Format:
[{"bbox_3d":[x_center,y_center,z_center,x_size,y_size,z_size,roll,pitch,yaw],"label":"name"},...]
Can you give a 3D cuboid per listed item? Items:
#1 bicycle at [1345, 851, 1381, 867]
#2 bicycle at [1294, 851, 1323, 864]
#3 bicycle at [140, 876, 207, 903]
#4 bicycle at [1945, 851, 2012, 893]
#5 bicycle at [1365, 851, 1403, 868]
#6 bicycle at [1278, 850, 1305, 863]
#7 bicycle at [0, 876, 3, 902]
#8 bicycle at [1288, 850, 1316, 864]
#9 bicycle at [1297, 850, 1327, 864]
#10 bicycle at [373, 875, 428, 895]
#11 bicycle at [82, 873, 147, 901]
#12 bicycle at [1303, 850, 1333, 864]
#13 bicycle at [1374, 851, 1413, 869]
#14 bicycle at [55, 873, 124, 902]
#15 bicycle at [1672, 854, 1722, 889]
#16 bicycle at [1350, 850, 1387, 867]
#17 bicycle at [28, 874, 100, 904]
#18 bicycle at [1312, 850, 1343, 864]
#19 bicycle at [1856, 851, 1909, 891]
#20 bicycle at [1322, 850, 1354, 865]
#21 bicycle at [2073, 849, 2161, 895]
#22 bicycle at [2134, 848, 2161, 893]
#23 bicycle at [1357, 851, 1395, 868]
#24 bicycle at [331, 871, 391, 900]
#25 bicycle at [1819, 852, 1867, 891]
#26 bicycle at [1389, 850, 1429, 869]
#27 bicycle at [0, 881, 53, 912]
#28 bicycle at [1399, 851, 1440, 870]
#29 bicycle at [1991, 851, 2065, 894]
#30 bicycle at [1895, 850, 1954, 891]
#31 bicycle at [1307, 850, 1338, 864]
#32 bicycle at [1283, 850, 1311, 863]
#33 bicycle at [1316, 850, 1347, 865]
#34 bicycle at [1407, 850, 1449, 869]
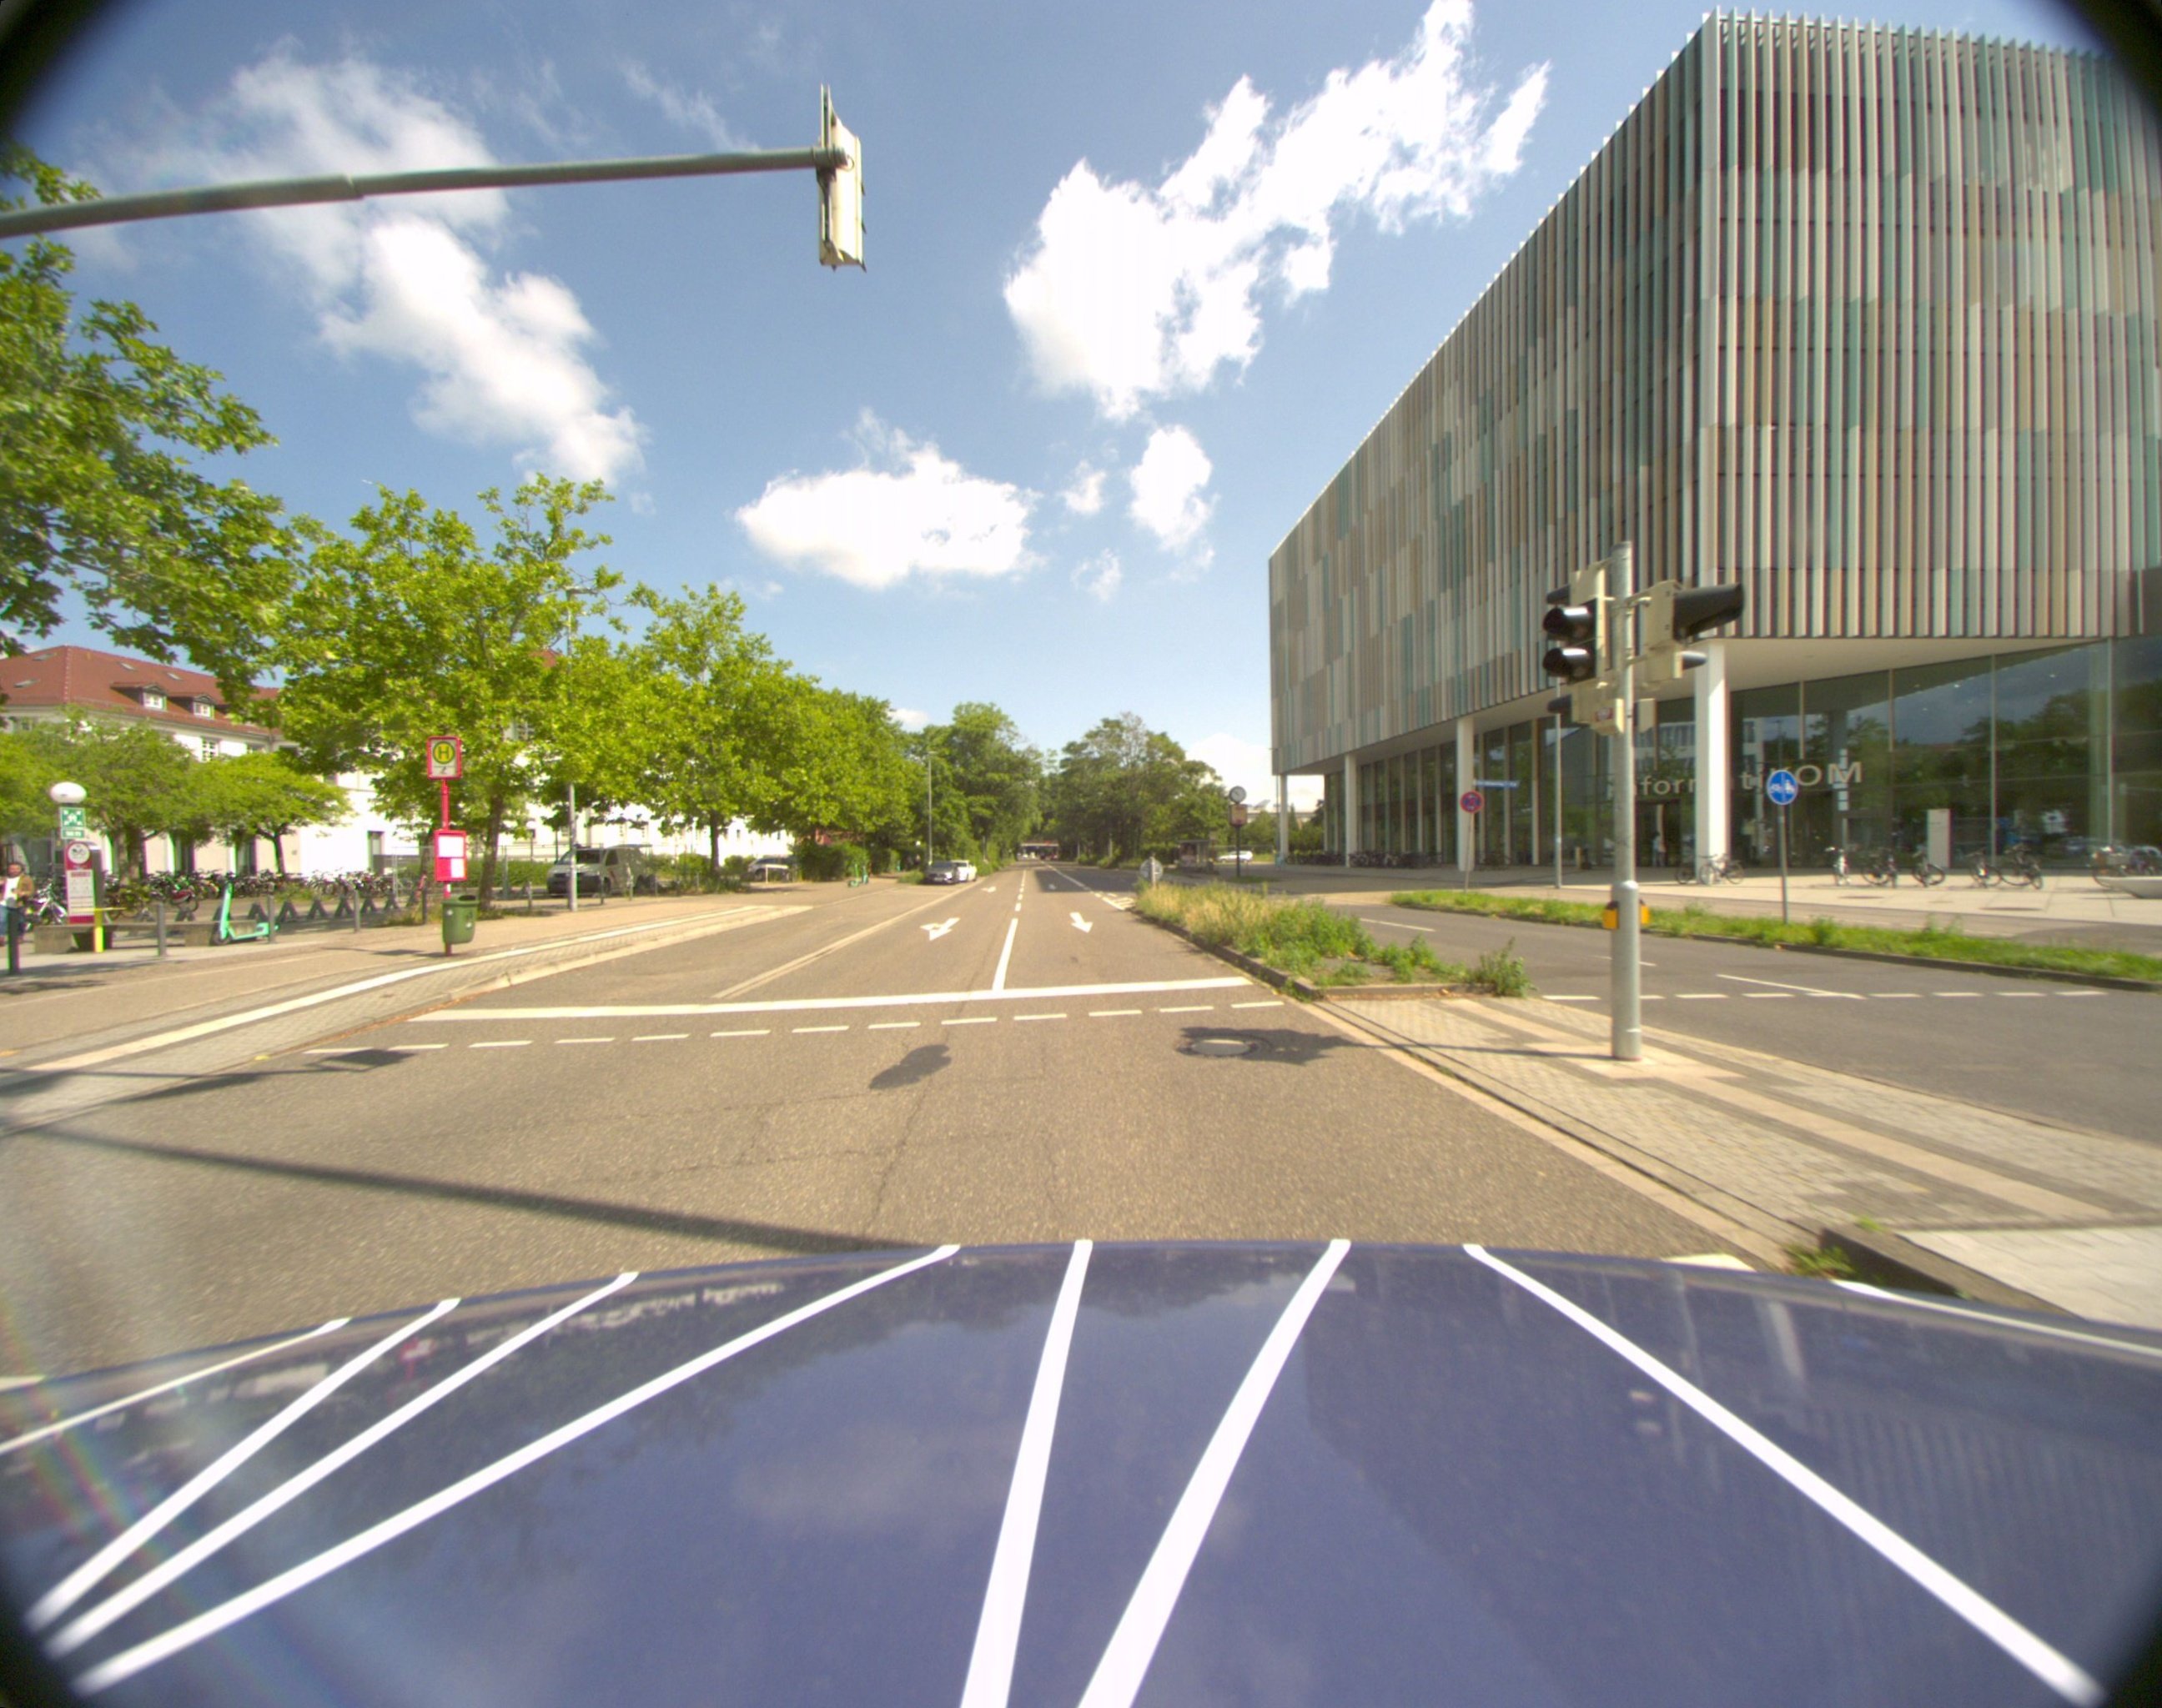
[{"bbox_3d":[19.394,0.331,52.266,2.218,1.090,0.722,-1,1,-8],"label":"bicycle"},{"bbox_3d":[19.048,0.275,63.663,2.218,1.090,0.722,-1,1,-8],"label":"bicycle"},{"bbox_3d":[-33.304,1.290,27.901,1.673,0.916,0.472,-1,1,-8],"label":"bicycle"},{"bbox_3d":[25.130,0.483,21.321,0.720,1.090,2.222,0,1,37],"label":"bicycle"},{"bbox_3d":[19.599,0.339,49.096,2.218,1.090,0.722,-1,1,-8],"label":"bicycle"},{"bbox_3d":[18.554,0.223,66.957,2.218,1.090,0.722,-1,1,-8],"label":"bicycle"},{"bbox_3d":[-45.074,1.457,30.780,1.673,1.090,0.626,-1,1,-8],"label":"bicycle"},{"bbox_3d":[18.887,0.254,64.907,2.218,1.090,0.722,-1,1,-8],"label":"bicycle"},{"bbox_3d":[18.932,0.268,62.226,2.218,1.090,0.722,-1,1,-8],"label":"bicycle"},{"bbox_3d":[-29.254,1.334,32.694,1.673,0.785,0.626,-1,1,-8],"label":"bicycle"},{"bbox_3d":[-39.633,1.337,31.171,1.673,1.090,0.626,-1,1,-8],"label":"bicycle"},{"bbox_3d":[19.087,0.246,61.194,2.218,1.090,0.722,-1,1,-8],"label":"bicycle"},{"bbox_3d":[19.787,0.380,48.176,2.218,1.090,0.735,-1,1,-8],"label":"bicycle"},{"bbox_3d":[-39.301,1.317,30.134,1.673,1.090,0.626,-1,1,-8],"label":"bicycle"},{"bbox_3d":[20.528,0.568,25.364,0.547,1.090,1.635,-1,1,9],"label":"bicycle"},{"bbox_3d":[19.408,0.319,51.303,2.218,1.090,0.722,-1,1,-8],"label":"bicycle"},{"bbox_3d":[-38.973,1.334,29.128,1.673,1.090,0.626,-1,1,-8],"label":"bicycle"},{"bbox_3d":[19.294,0.234,59.548,2.218,1.090,0.722,-1,1,-8],"label":"bicycle"},{"bbox_3d":[23.719,0.477,22.517,0.720,1.090,2.222,0,1,37],"label":"bicycle"},{"bbox_3d":[19.496,0.251,57.645,2.218,1.090,0.722,-1,1,-8],"label":"bicycle"},{"bbox_3d":[26.249,0.435,19.277,0.720,1.090,2.222,0,1,37],"label":"bicycle"},{"bbox_3d":[26.880,0.399,18.564,0.720,1.090,2.222,0,1,37],"label":"bicycle"},{"bbox_3d":[19.413,0.336,49.998,2.218,1.090,0.722,-1,1,-8],"label":"bicycle"},{"bbox_3d":[-29.071,1.255,30.707,1.673,1.090,0.626,-1,1,-8],"label":"bicycle"},{"bbox_3d":[23.016,0.499,22.989,0.720,1.090,2.222,0,1,37],"label":"bicycle"},{"bbox_3d":[20.138,0.337,46.639,2.218,1.090,0.722,-1,1,-8],"label":"bicycle"},{"bbox_3d":[-39.227,1.580,27.980,1.673,1.090,0.626,-1,1,-8],"label":"bicycle"},{"bbox_3d":[20.282,0.366,45.535,2.218,1.090,0.755,-1,1,-8],"label":"bicycle"},{"bbox_3d":[25.703,0.475,20.671,0.720,1.090,2.222,0,1,37],"label":"bicycle"},{"bbox_3d":[24.440,0.454,22.062,0.720,1.090,2.222,0,1,37],"label":"bicycle"},{"bbox_3d":[19.180,0.255,60.326,2.218,1.083,0.722,-1,1,-8],"label":"bicycle"},{"bbox_3d":[18.727,0.240,65.814,2.218,1.090,0.722,-1,1,-8],"label":"bicycle"},{"bbox_3d":[19.335,0.242,58.692,2.218,1.090,0.722,-1,1,-8],"label":"bicycle"},{"bbox_3d":[20.325,0.326,44.526,2.218,1.090,0.722,-1,1,-8],"label":"bicycle"}]
